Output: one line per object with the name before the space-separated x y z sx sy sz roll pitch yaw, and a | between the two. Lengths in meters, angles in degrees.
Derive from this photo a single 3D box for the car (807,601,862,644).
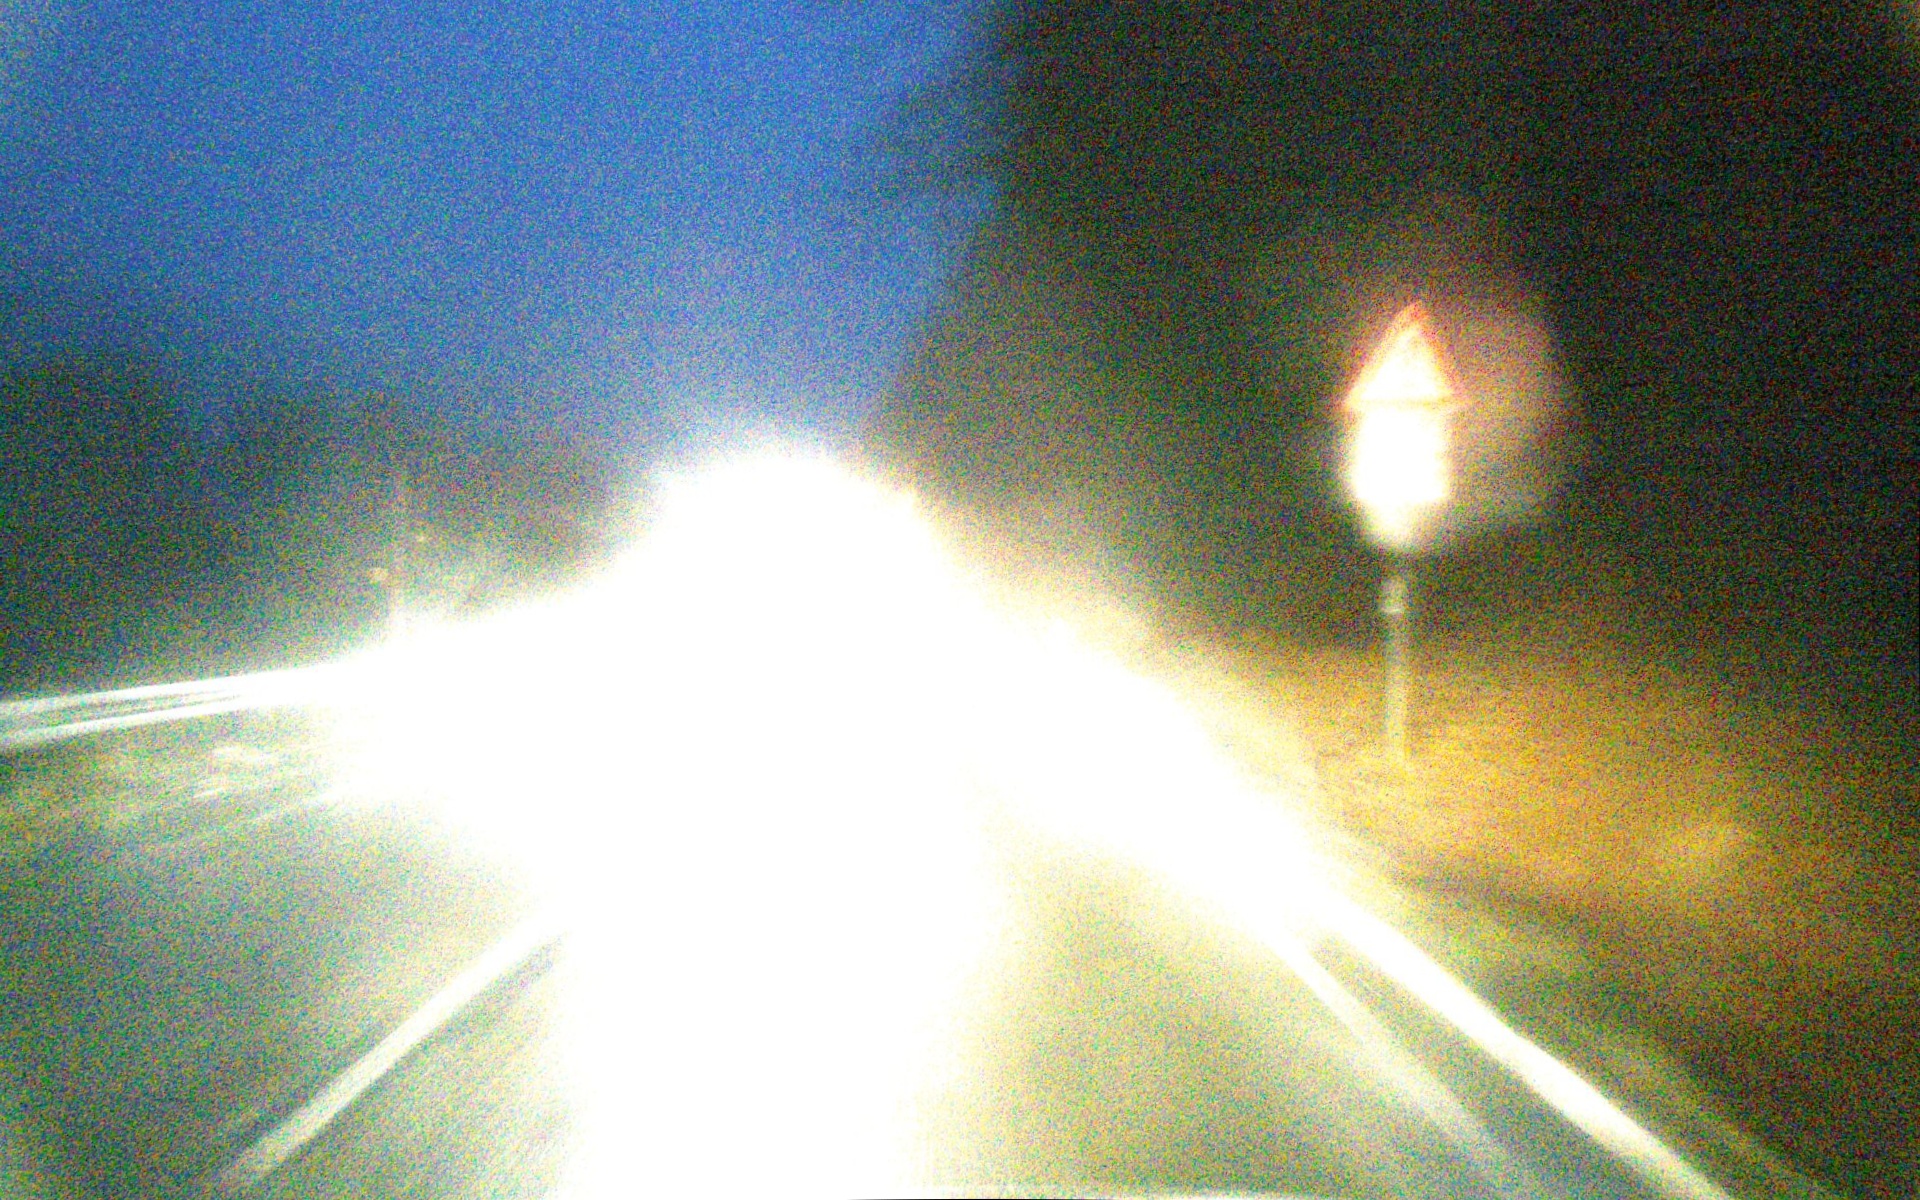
car | -4.803 0.824 63.909 1.817 1.548 4.680 1 0 -1

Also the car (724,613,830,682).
car | -4.208 1.096 38.657 1.935 1.487 4.281 1 -1 0
